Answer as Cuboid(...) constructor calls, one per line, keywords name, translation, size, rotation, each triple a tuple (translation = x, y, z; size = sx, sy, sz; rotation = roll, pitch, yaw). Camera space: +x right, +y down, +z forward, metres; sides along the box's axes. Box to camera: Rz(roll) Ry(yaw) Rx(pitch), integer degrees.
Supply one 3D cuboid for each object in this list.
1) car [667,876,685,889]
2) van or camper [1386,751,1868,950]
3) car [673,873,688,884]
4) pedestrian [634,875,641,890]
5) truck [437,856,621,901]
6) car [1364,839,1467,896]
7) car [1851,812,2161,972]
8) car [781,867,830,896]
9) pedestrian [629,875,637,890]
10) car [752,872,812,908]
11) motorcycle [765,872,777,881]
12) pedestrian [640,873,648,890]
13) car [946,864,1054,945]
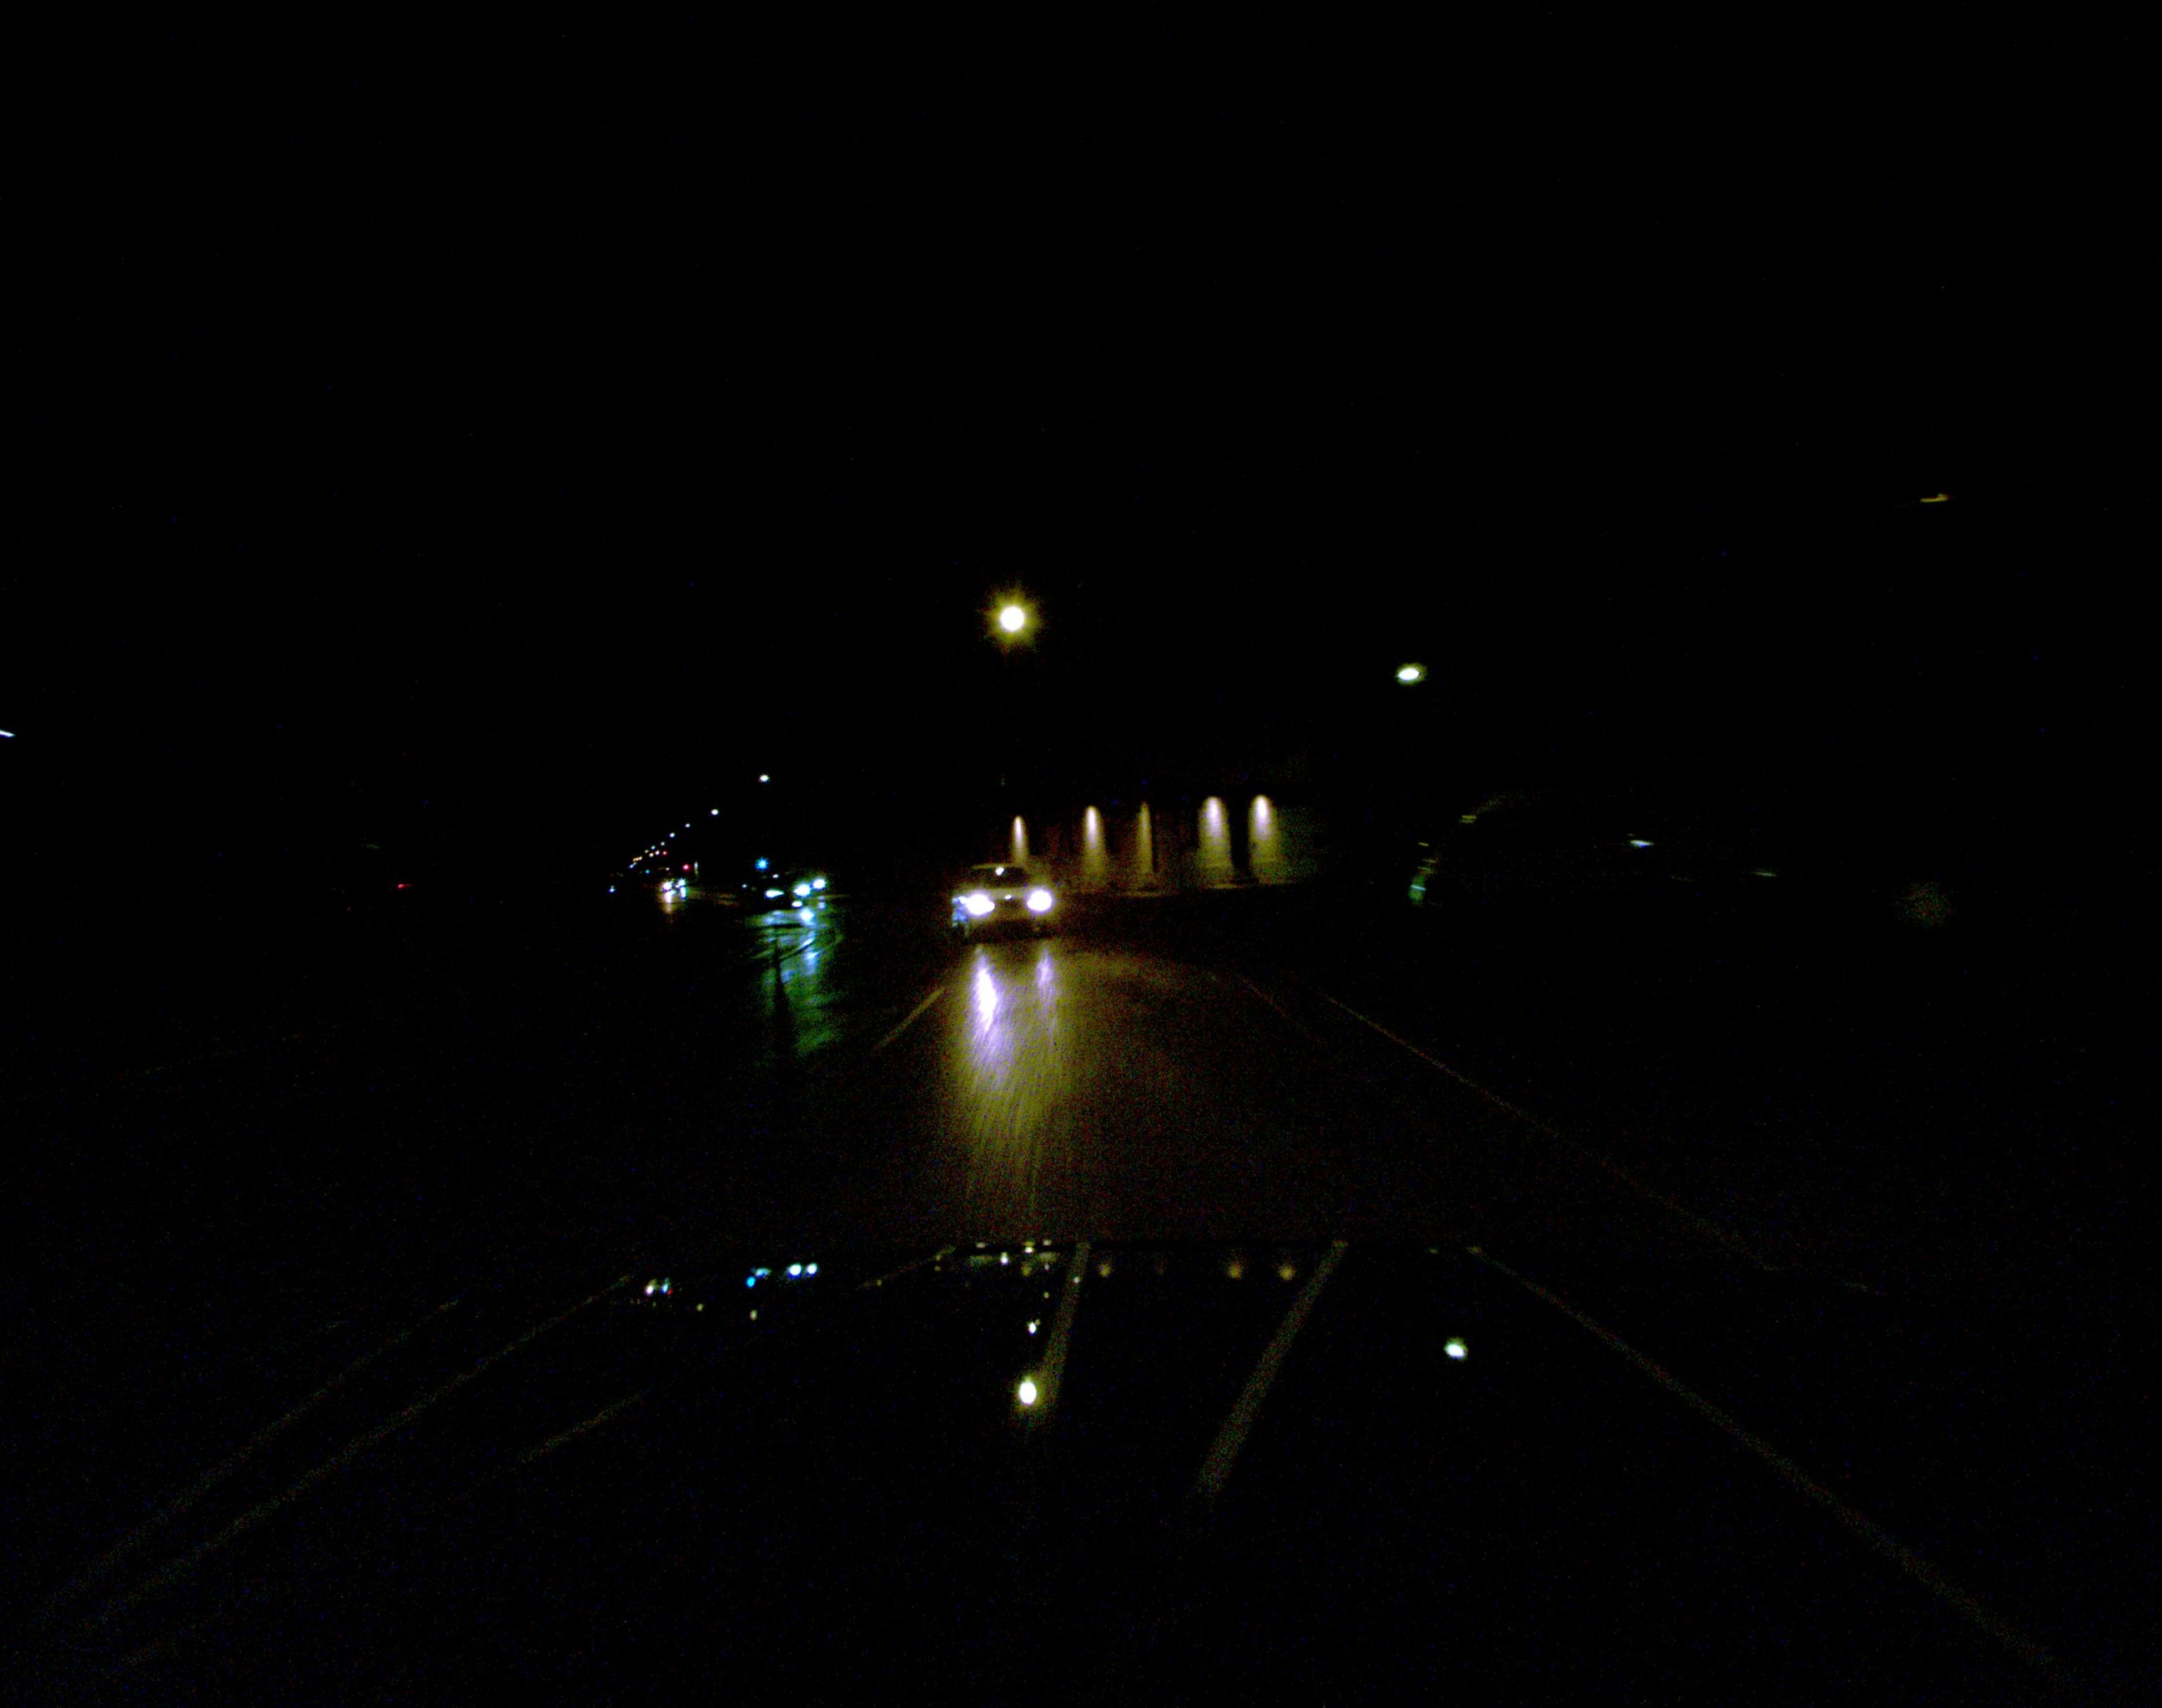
Cuboid(name="car", translation=(-47.335, 3.314, 88.791), size=(1.622, 1.259, 3.619), rotation=(-5, 1, -29))
Cuboid(name="van or camper", translation=(8.558, 0.001, 12.813), size=(2.169, 2.520, 6.212), rotation=(-1, 0, -32))
Cuboid(name="car", translation=(-62.974, 3.808, 119.456), size=(2.003, 1.626, 3.991), rotation=(-3, 0, -29))
Cuboid(name="pedestrian", translation=(-47.685, 3.072, 81.702), size=(0.575, 1.525, 0.632), rotation=(-4, 1, -32))
Cuboid(name="truck", translation=(-63.175, 2.651, 87.879), size=(16.858, 3.961, 3.124), rotation=(-3, 1, -32))
Cuboid(name="car", translation=(10.164, 0.377, 23.061), size=(2.823, 1.504, 1.486), rotation=(-4, 1, -32))
Cuboid(name="car", translation=(11.493, 0.351, 8.045), size=(1.901, 1.581, 4.364), rotation=(-2, 0, -32))
Cuboid(name="car", translation=(-15.933, 1.555, 43.766), size=(1.733, 1.455, 3.990), rotation=(-3, 1, -33))
Cuboid(name="pedestrian", translation=(-47.366, 3.013, 80.380), size=(0.624, 1.629, 0.677), rotation=(-4, 1, -32))
Cuboid(name="car", translation=(-13.911, 1.621, 35.193), size=(1.732, 1.422, 4.488), rotation=(-5, 2, -32))
Cuboid(name="motorcycle", translation=(-39.929, 2.887, 97.859), size=(2.027, 1.173, 0.574), rotation=(-3, 1, 41))
Cuboid(name="pedestrian", translation=(-46.758, 2.912, 81.373), size=(0.624, 1.801, 0.757), rotation=(-4, 1, -32))
Cuboid(name="car", translation=(-1.871, 0.988, 16.459), size=(1.636, 1.430, 3.835), rotation=(-3, 0, -16))
